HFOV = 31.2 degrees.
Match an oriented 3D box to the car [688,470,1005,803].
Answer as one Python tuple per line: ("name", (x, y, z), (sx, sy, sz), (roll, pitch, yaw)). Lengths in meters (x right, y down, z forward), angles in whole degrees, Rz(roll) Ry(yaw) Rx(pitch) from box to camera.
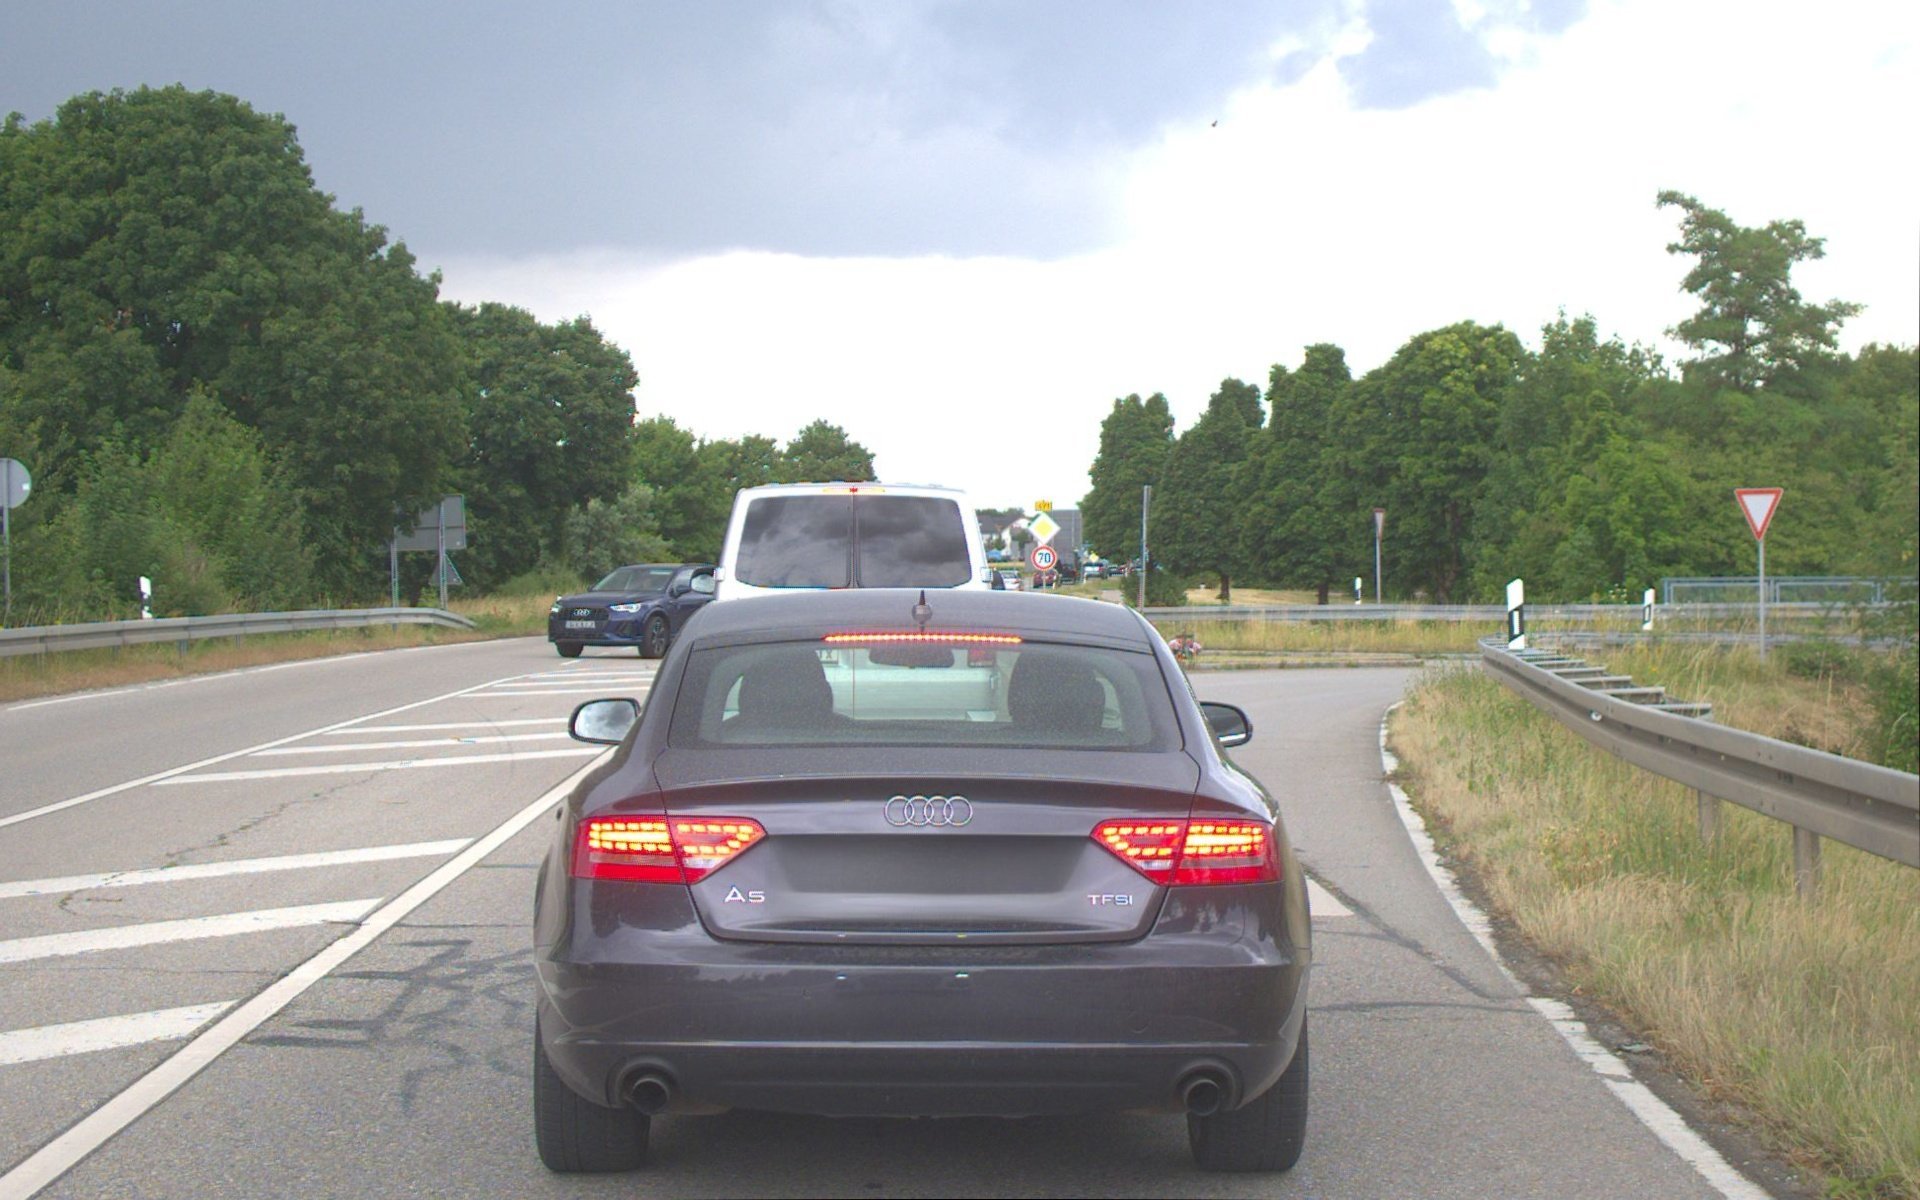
("car", (-0.752, 0.186, 22.939), (1.910, 2.007, 4.001), (1, 1, -2))

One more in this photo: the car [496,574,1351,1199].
("car", (-0.133, 0.643, 8.845), (1.779, 1.394, 3.337), (0, 1, -2))

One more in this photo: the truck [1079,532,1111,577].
("truck", (8.997, -3.053, 229.501), (1.993, 2.908, 5.793), (1, 1, 2))

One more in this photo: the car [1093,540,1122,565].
("car", (10.616, -3.426, 247.699), (1.993, 1.686, 4.000), (1, 1, 1))

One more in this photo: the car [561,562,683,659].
("car", (-5.660, 0.140, 57.929), (1.709, 1.513, 4.210), (1, 1, -1))

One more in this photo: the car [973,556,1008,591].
("car", (1.812, -1.596, 203.165), (1.993, 2.007, 4.000), (1, 1, 1))

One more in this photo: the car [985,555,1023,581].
("car", (2.807, -2.048, 220.619), (2.205, 1.577, 4.379), (1, 1, -2))

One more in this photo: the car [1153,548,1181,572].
("car", (14.507, -2.807, 240.961), (1.876, 1.686, 4.000), (1, 1, 4))
